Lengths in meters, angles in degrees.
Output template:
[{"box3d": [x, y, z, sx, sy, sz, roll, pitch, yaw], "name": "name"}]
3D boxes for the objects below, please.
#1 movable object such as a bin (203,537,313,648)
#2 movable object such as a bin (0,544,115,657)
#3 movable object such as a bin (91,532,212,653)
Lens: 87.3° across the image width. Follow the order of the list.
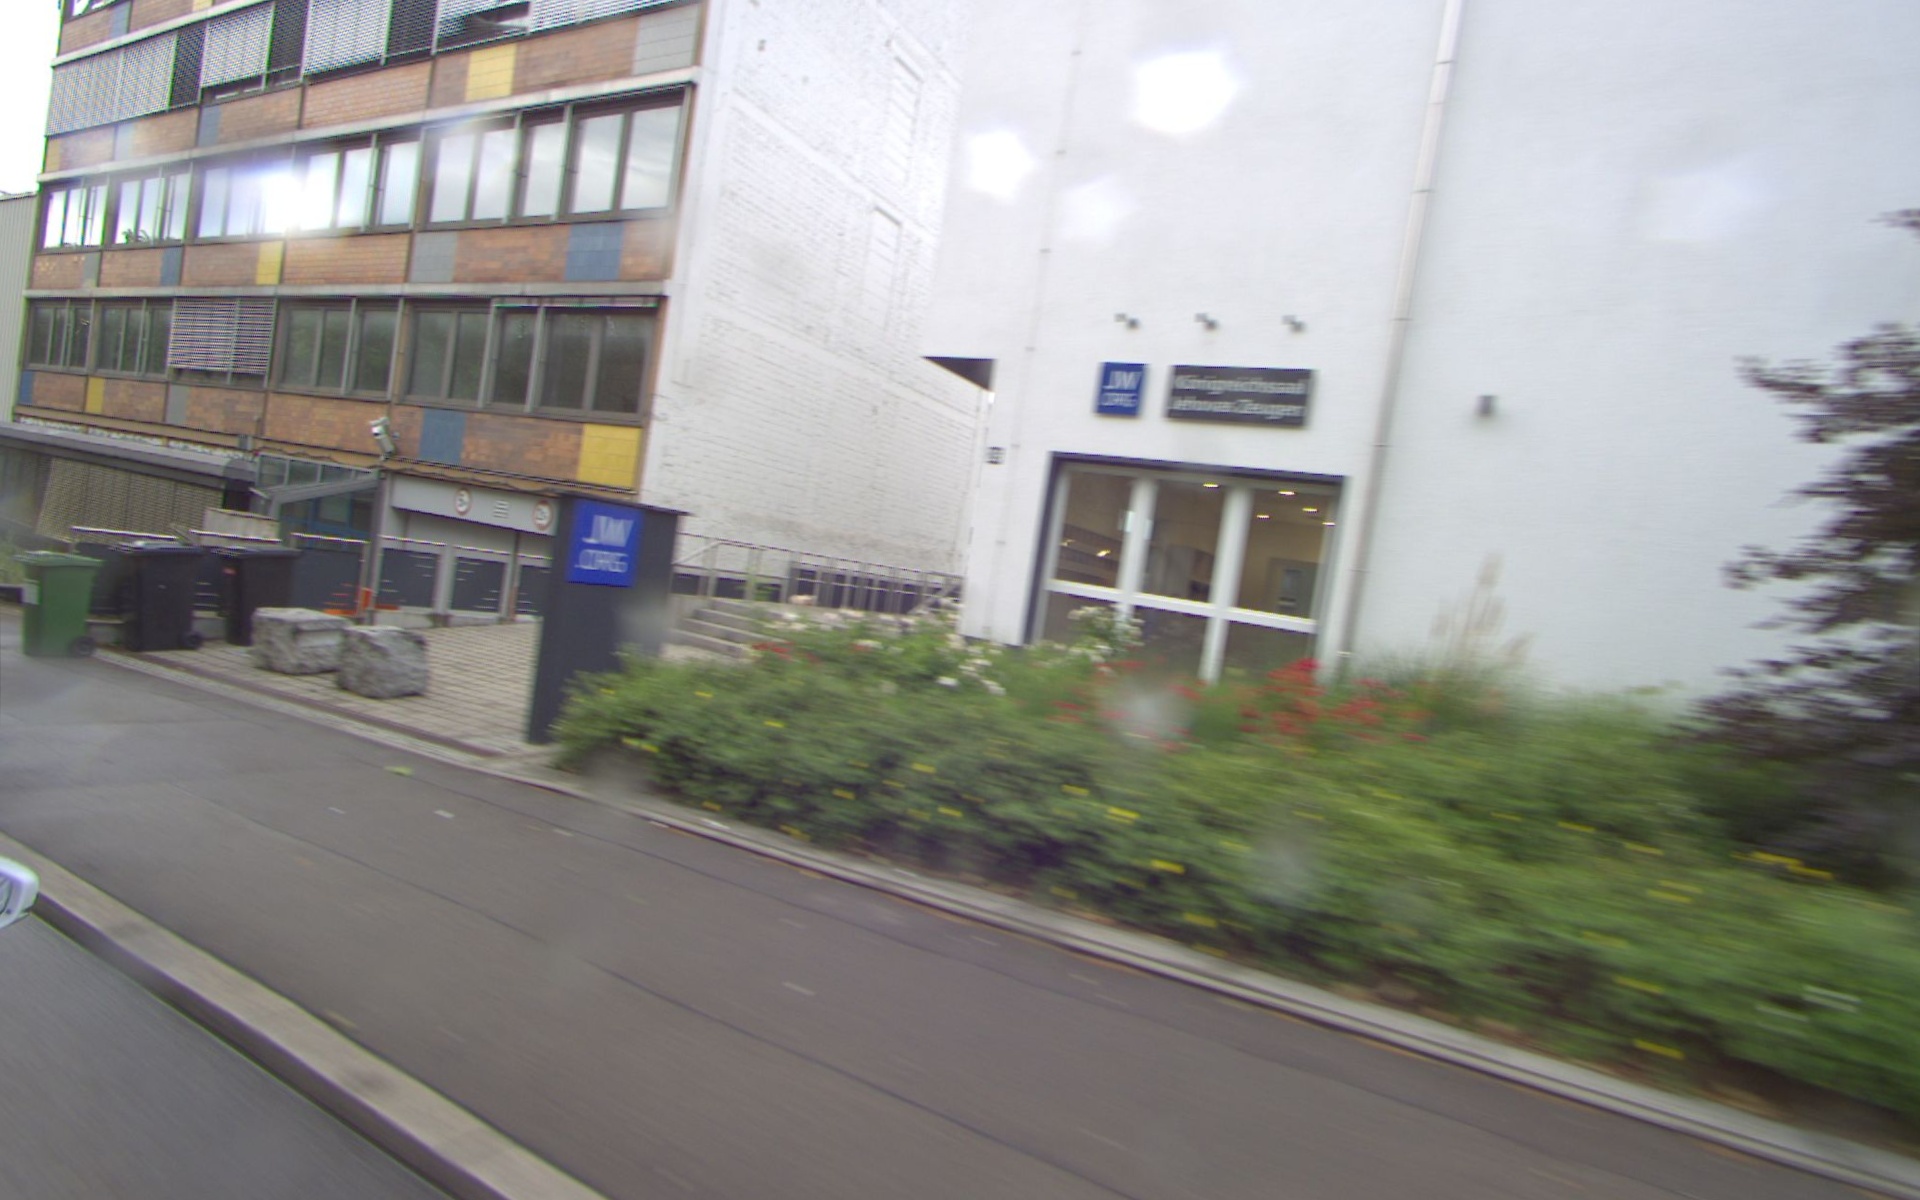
[{"box3d": [-7.634, -0.077, 10.942, 0.765, 1.097, 0.695, 8, 4, 32], "name": "movable object such as a bin"}, {"box3d": [-8.374, 0.005, 9.324, 0.674, 0.949, 0.619, 8, 4, 32], "name": "movable object such as a bin"}, {"box3d": [-8.094, -0.076, 10.077, 0.765, 1.097, 0.695, 8, 4, 32], "name": "movable object such as a bin"}]
